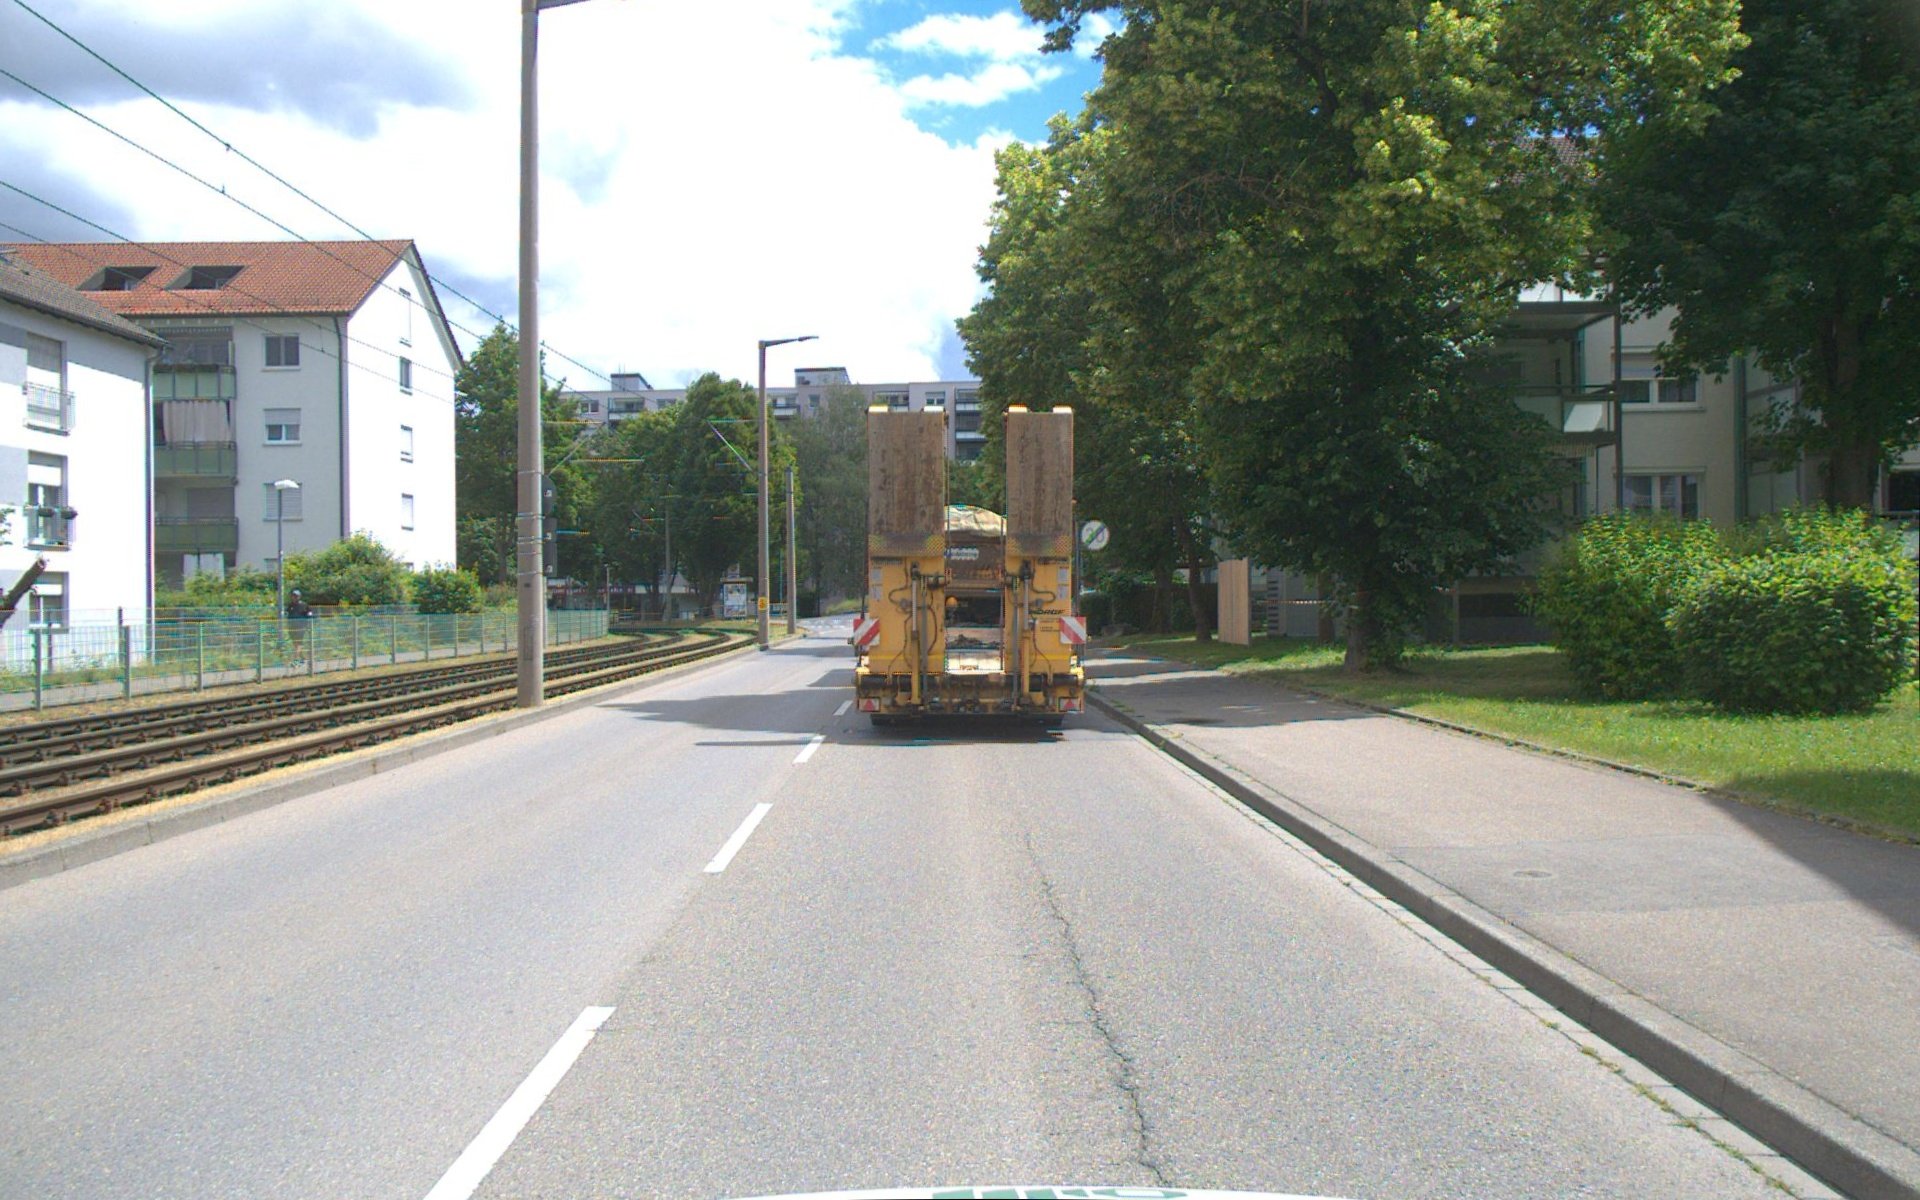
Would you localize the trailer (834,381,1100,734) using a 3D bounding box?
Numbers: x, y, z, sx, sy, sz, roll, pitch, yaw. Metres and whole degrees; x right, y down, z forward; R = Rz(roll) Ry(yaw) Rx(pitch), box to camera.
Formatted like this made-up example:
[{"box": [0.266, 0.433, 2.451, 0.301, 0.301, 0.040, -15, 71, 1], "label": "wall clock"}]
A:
[{"box": [-0.084, -0.463, 23.723, 2.770, 3.709, 12.350, 1, 0, -2], "label": "trailer"}]

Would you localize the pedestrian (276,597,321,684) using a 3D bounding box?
[{"box": [-14.574, 0.881, 36.452, 0.646, 1.881, 0.768, -2, 0, -1], "label": "pedestrian"}]

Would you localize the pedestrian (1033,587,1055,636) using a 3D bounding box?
[{"box": [3.068, 0.405, 60.309, 0.703, 1.736, 0.766, -2, 0, -1], "label": "pedestrian"}]
